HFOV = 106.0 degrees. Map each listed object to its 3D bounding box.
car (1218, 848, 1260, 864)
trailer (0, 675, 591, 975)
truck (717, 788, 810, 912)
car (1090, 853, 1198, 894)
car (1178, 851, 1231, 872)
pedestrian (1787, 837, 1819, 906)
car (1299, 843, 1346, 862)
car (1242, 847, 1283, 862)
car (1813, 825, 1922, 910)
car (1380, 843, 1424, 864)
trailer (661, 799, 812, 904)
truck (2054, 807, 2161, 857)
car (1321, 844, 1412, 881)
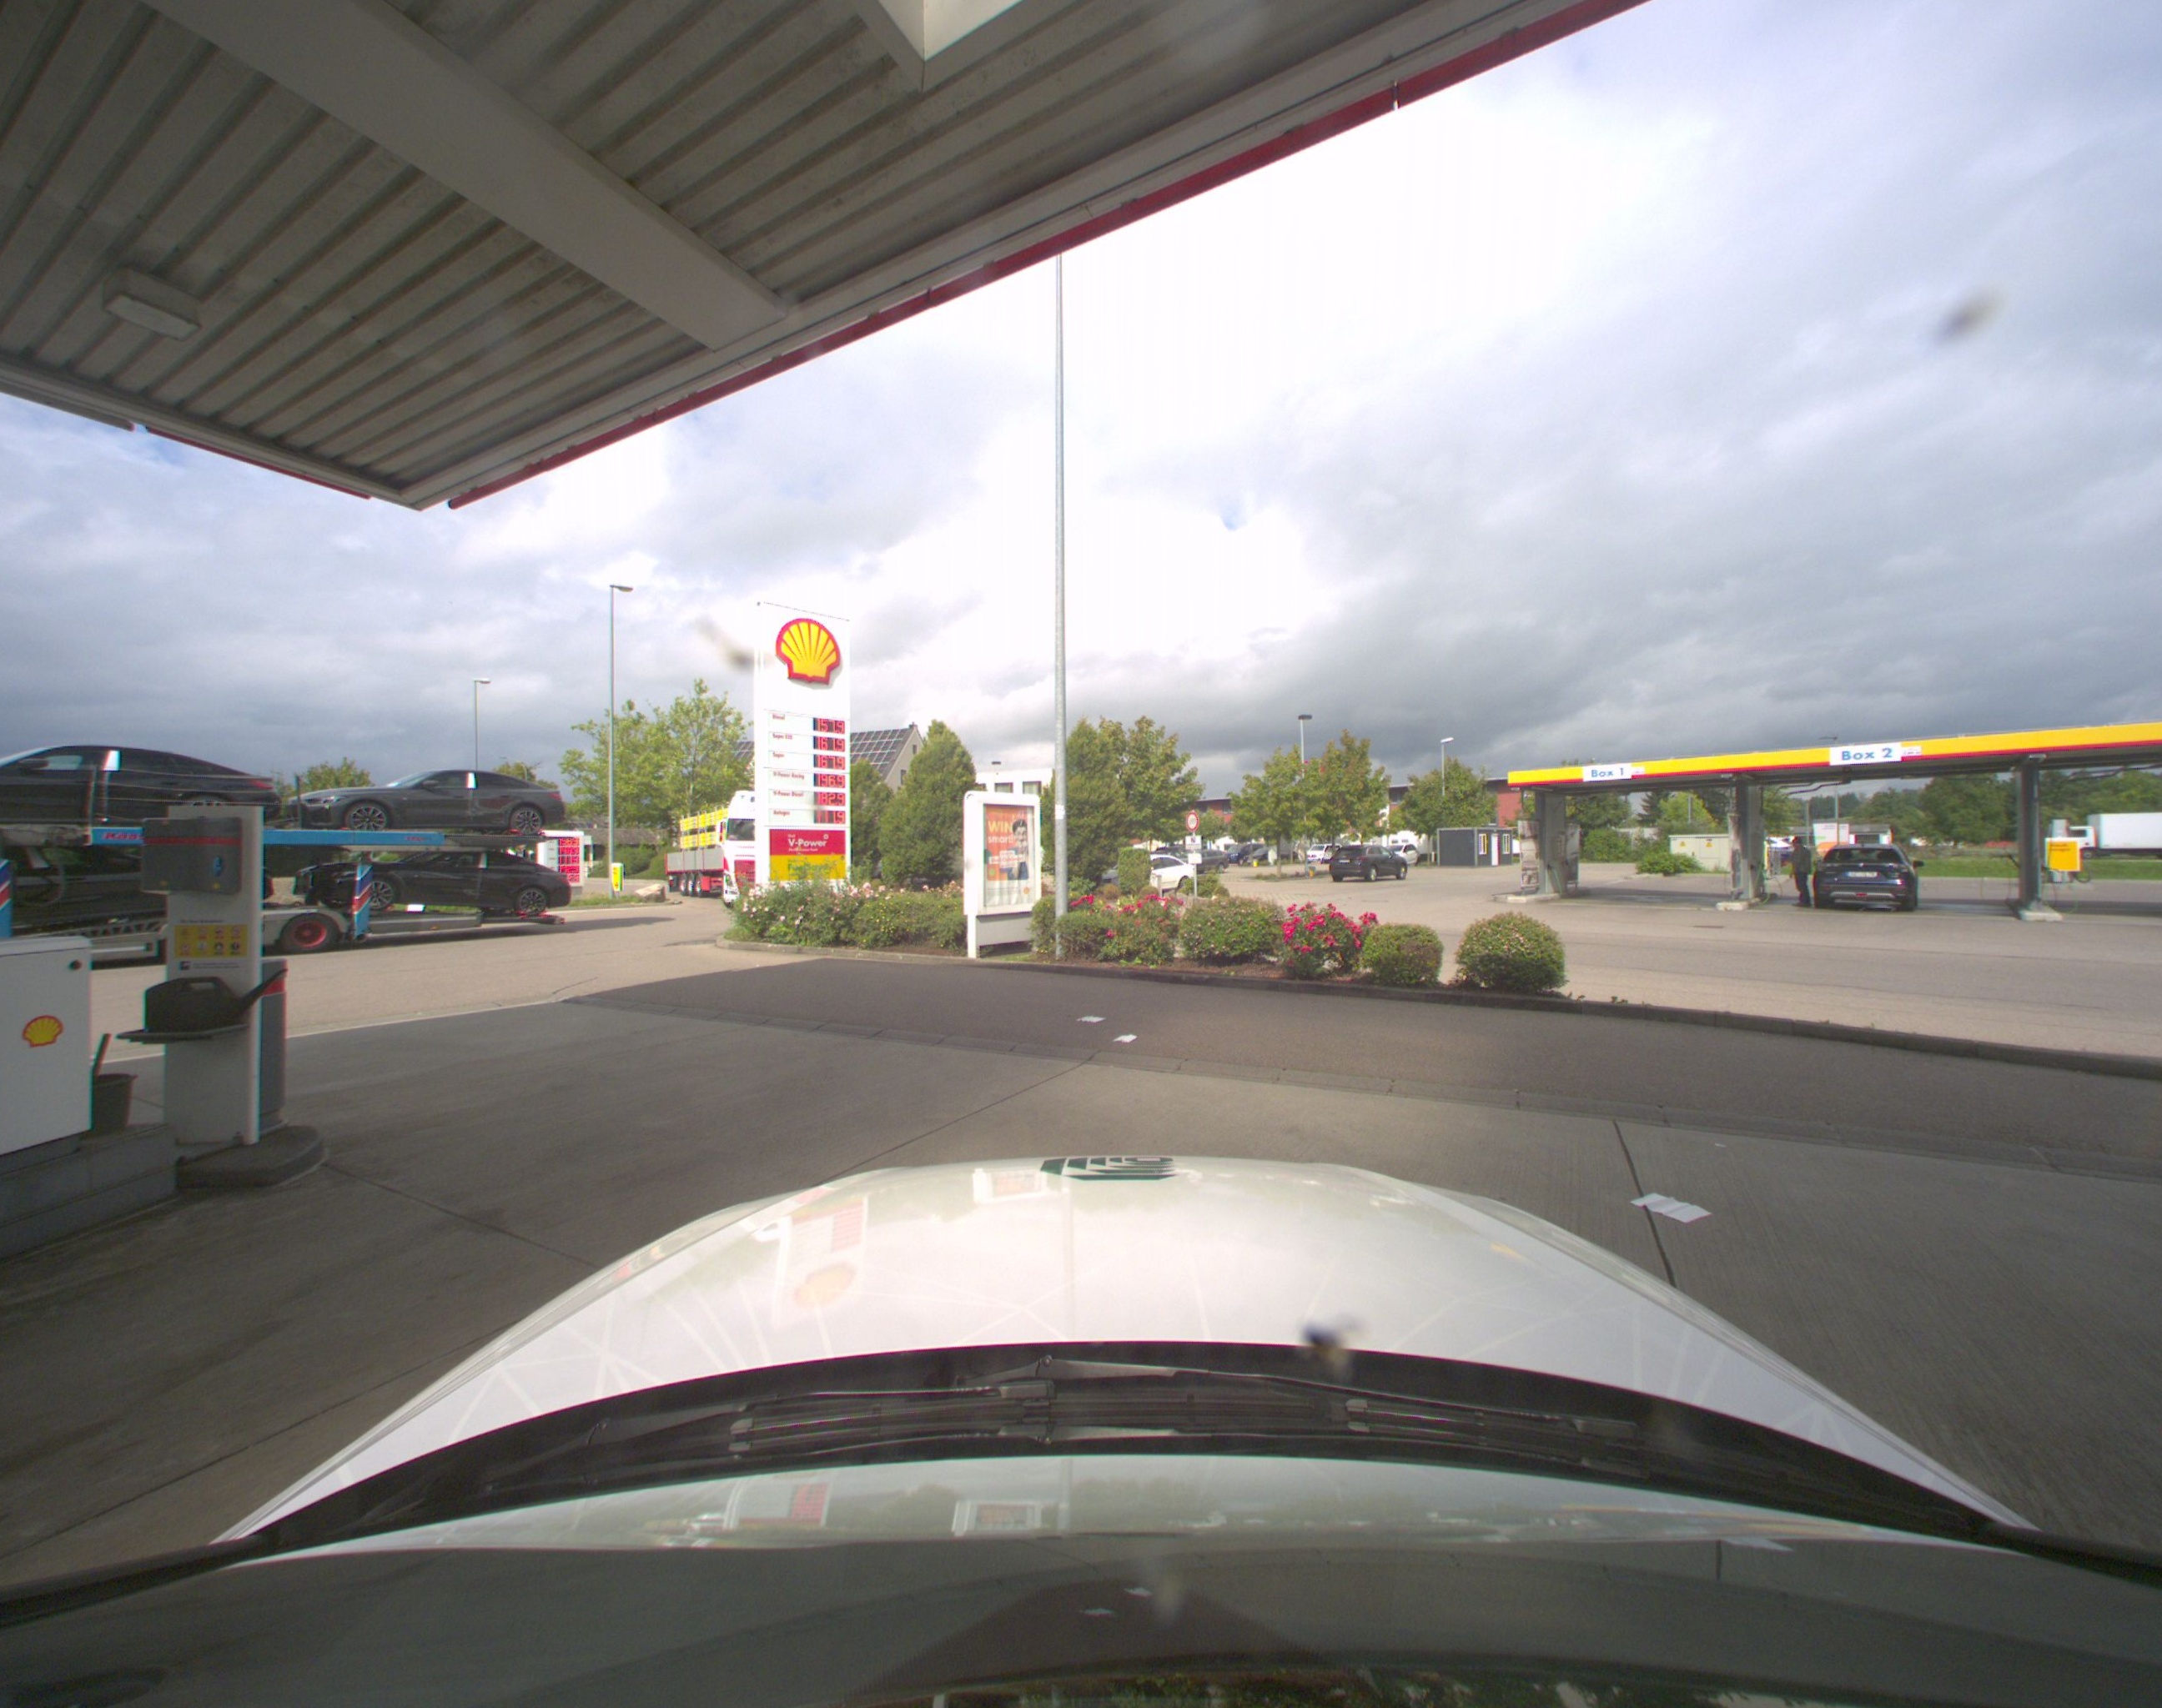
[{"bbox_3d":[12.943,0.176,66.656,3.407,1.320,1.726,0,-1,-42],"label":"car"},{"bbox_3d":[-16.442,-0.413,13.680,2.711,4.423,14.450,-1,-1,31],"label":"trailer"},{"bbox_3d":[-11.044,-0.111,28.564,2.742,3.846,5.878,0,-1,-20],"label":"truck"},{"bbox_3d":[2.387,0.680,30.017,4.368,1.404,1.354,0,-1,-42],"label":"car"},{"bbox_3d":[7.533,0.444,49.701,3.245,1.228,1.488,0,-1,-42],"label":"car"},{"bbox_3d":[18.229,0.433,20.562,0.551,1.722,0.531,-1,-1,38],"label":"pedestrian"},{"bbox_3d":[23.867,-0.130,80.264,4.903,1.833,2.159,0,-1,-41],"label":"car"},{"bbox_3d":[14.486,0.028,64.871,3.437,1.179,1.468,0,-1,-42],"label":"car"},{"bbox_3d":[19.431,0.310,20.071,3.828,1.897,1.703,0,-1,-43],"label":"car"},{"bbox_3d":[20.600,-0.054,52.211,3.120,1.307,1.352,0,-1,-42],"label":"car"},{"bbox_3d":[-15.164,-0.027,34.960,2.752,3.776,12.567,0,-1,-38],"label":"trailer"},{"bbox_3d":[78.224,-1.575,60.003,7.989,3.534,2.714,-1,-1,41],"label":"truck"},{"bbox_3d":[12.869,0.369,36.576,4.527,1.548,1.864,0,-1,-41],"label":"car"}]
